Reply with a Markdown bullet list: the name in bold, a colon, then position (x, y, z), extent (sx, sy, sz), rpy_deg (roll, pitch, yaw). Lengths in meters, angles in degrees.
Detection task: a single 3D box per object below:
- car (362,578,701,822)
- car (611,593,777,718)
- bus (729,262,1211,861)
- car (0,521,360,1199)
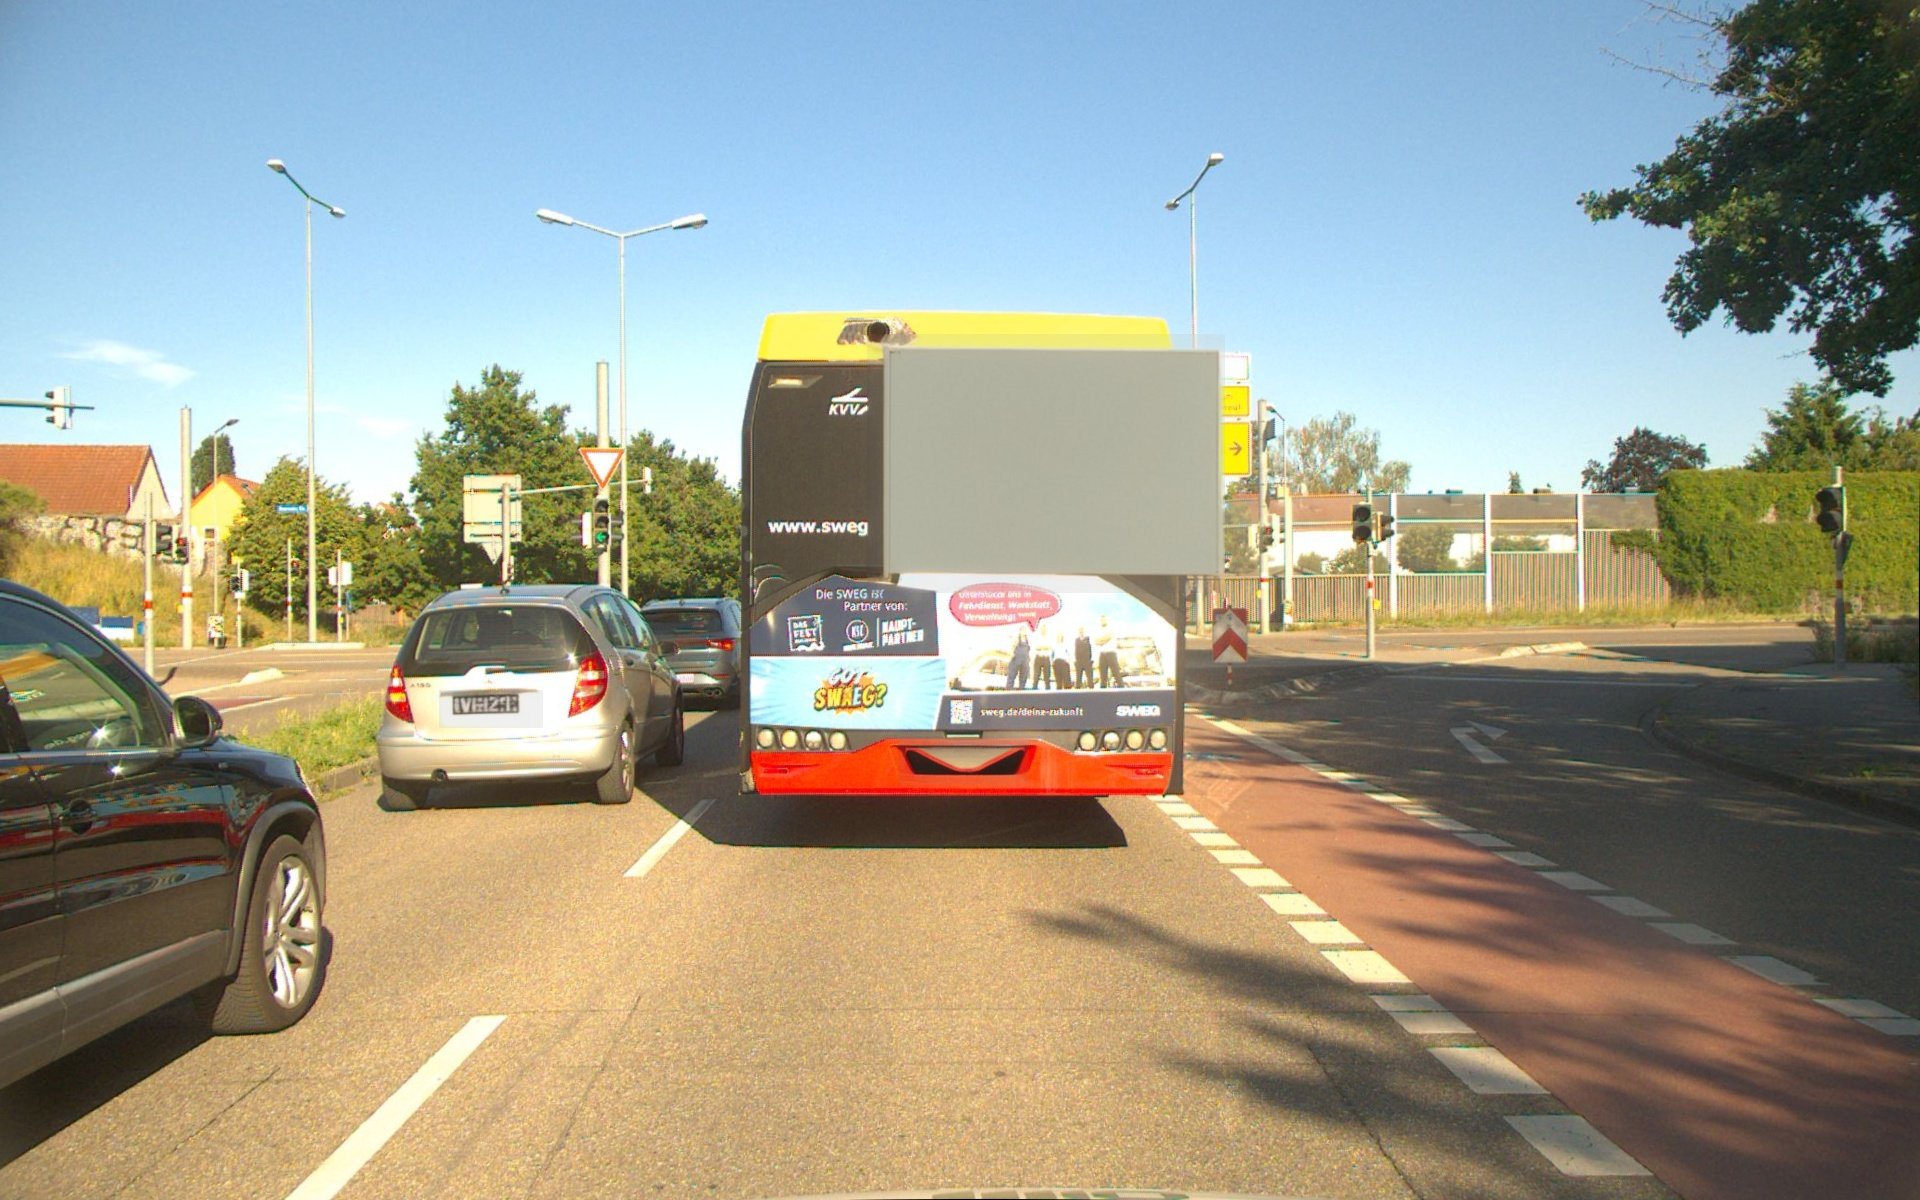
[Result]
- **car**: position (-3.245, 0.674, 13.331), extent (1.725, 1.617, 3.999), rpy_deg (-2, 0, -1)
- **car**: position (-3.480, 0.669, 22.249), extent (1.658, 1.484, 3.750), rpy_deg (-2, 0, -1)
- **bus**: position (0.020, -0.256, 14.893), extent (2.589, 3.222, 11.860), rpy_deg (0, 0, 0)
- **car**: position (-3.145, 0.683, 4.303), extent (1.736, 1.682, 3.999), rpy_deg (-2, 0, -1)
